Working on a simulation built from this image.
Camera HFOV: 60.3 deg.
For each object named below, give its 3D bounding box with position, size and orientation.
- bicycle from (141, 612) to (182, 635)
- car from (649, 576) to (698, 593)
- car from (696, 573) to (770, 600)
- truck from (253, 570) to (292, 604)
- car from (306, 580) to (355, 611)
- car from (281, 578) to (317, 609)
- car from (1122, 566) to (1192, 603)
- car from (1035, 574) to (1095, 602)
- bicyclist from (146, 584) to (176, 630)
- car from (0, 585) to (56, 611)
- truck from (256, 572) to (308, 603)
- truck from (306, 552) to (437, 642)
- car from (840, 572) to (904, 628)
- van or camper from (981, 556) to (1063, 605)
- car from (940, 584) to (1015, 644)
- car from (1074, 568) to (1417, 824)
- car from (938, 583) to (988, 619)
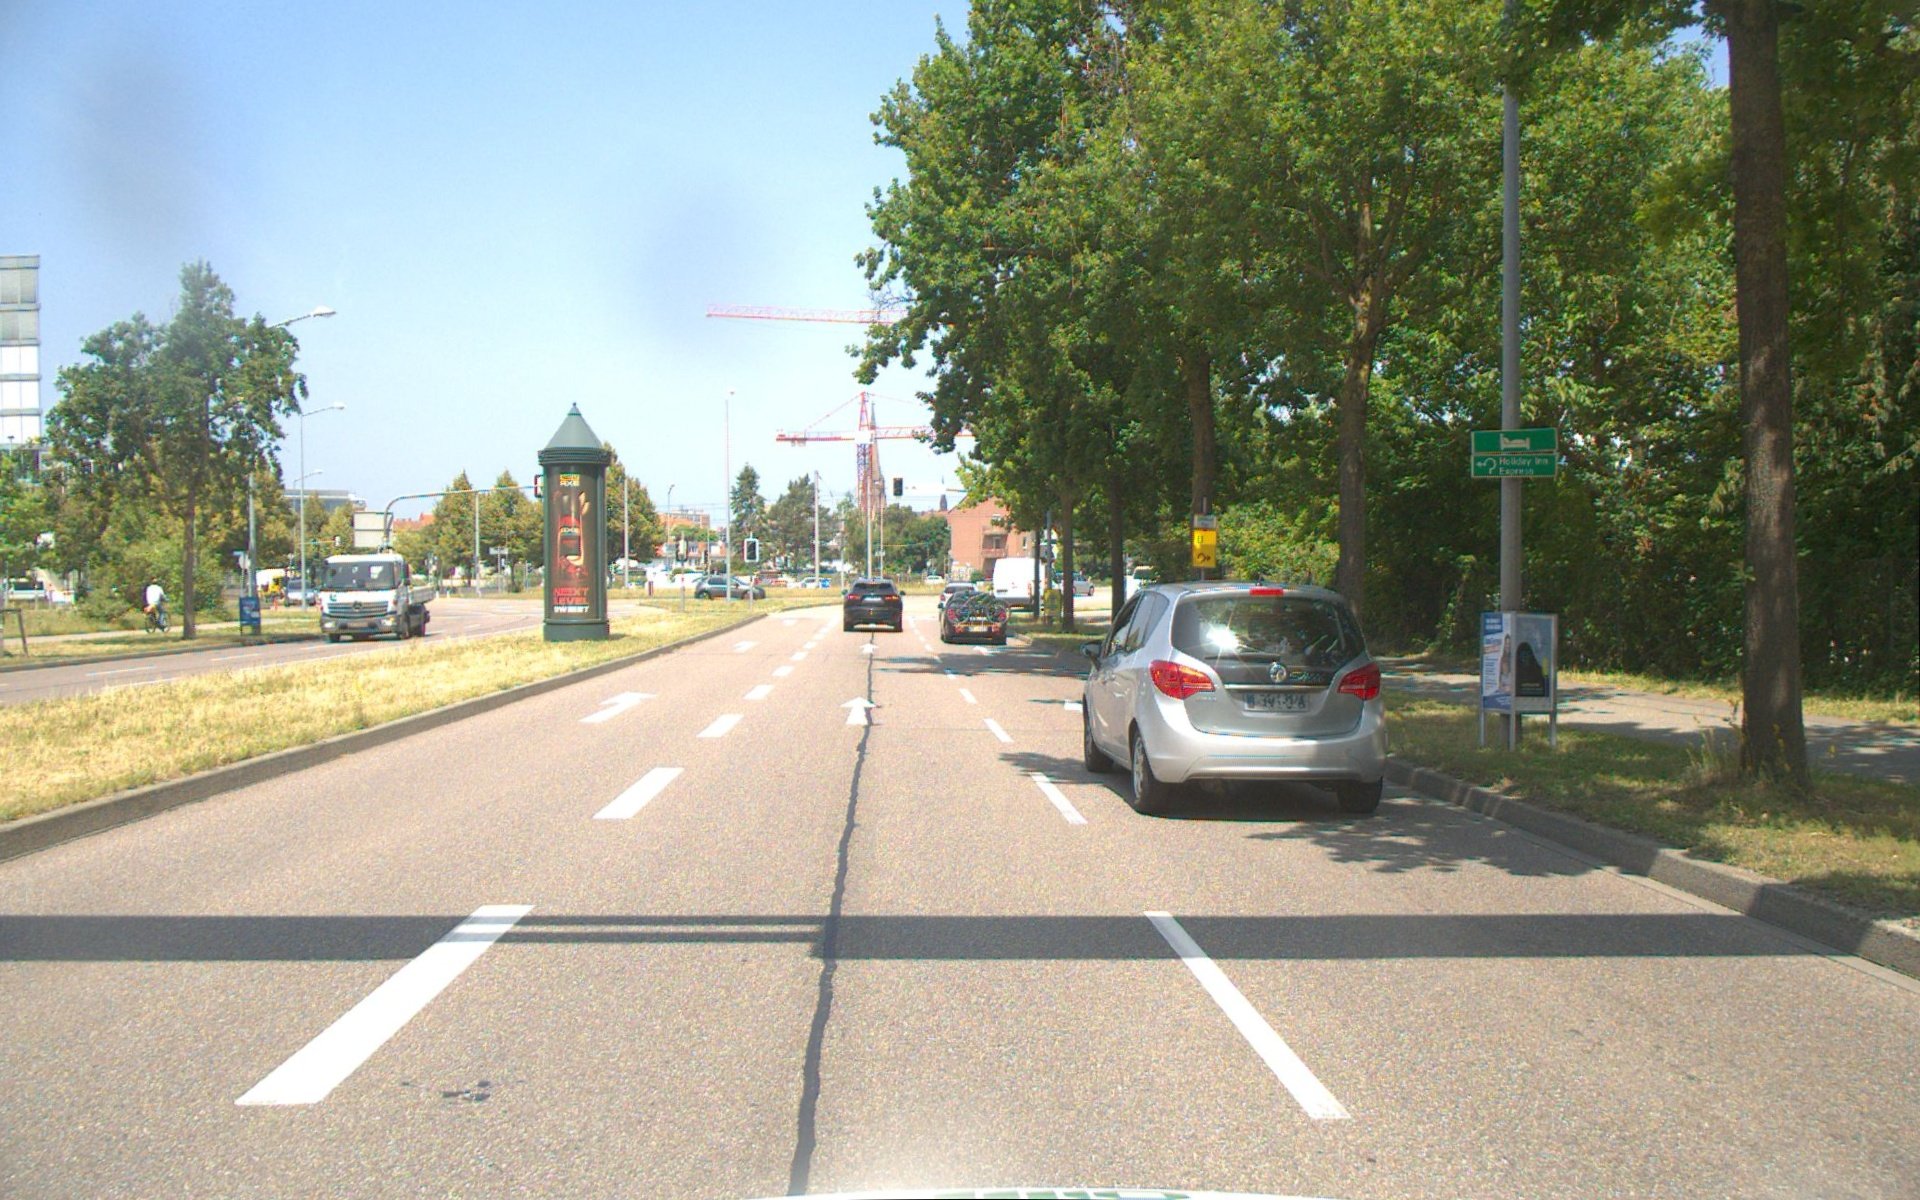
[{"bbox_3d":[-26.674,0.784,55.273,0.471,0.728,1.850,-1,1,0],"label":"bicycle"},{"bbox_3d":[-25.517,-1.397,147.273,3.903,1.489,2.001,-1,1,4],"label":"car"},{"bbox_3d":[-12.762,-0.754,93.257,3.906,1.478,1.999,0,0,-2],"label":"car"},{"bbox_3d":[-57.666,-1.064,138.677,1.978,2.787,4.970,-1,1,-35],"label":"truck"},{"bbox_3d":[-33.780,-0.261,88.703,1.972,1.624,3.961,-1,1,-29],"label":"car"},{"bbox_3d":[-41.010,-0.401,102.631,1.965,1.847,3.975,-1,1,-21],"label":"car"},{"bbox_3d":[11.209,-0.920,94.011,1.966,2.049,3.972,0,1,44],"label":"car"},{"bbox_3d":[6.599,-0.776,103.959,1.909,1.723,3.902,0,1,38],"label":"car"},{"bbox_3d":[-26.688,0.221,55.232,0.610,1.515,0.757,-1,0,0],"label":"bicyclist"},{"bbox_3d":[-71.333,-0.128,125.608,1.956,1.911,4.282,0,1,30],"label":"car"},{"bbox_3d":[-59.824,-1.102,145.875,2.341,2.640,6.316,-1,1,-41],"label":"truck"},{"bbox_3d":[-18.299,-0.133,51.823,2.589,2.621,6.307,-1,1,-8],"label":"truck"},{"bbox_3d":[-2.822,-0.020,53.914,1.957,1.719,4.033,1,1,-1],"label":"car"},{"bbox_3d":[3.088,-0.961,80.906,2.442,2.331,4.921,0,1,22],"label":"van or camper"},{"bbox_3d":[0.447,0.349,46.238,1.973,1.543,4.460,-1,1,-1],"label":"car"},{"bbox_3d":[1.981,0.588,12.601,1.756,1.640,3.889,0,1,-3],"label":"car"},{"bbox_3d":[0.089,0.014,65.524,1.622,1.380,4.457,-1,1,-4],"label":"car"}]
